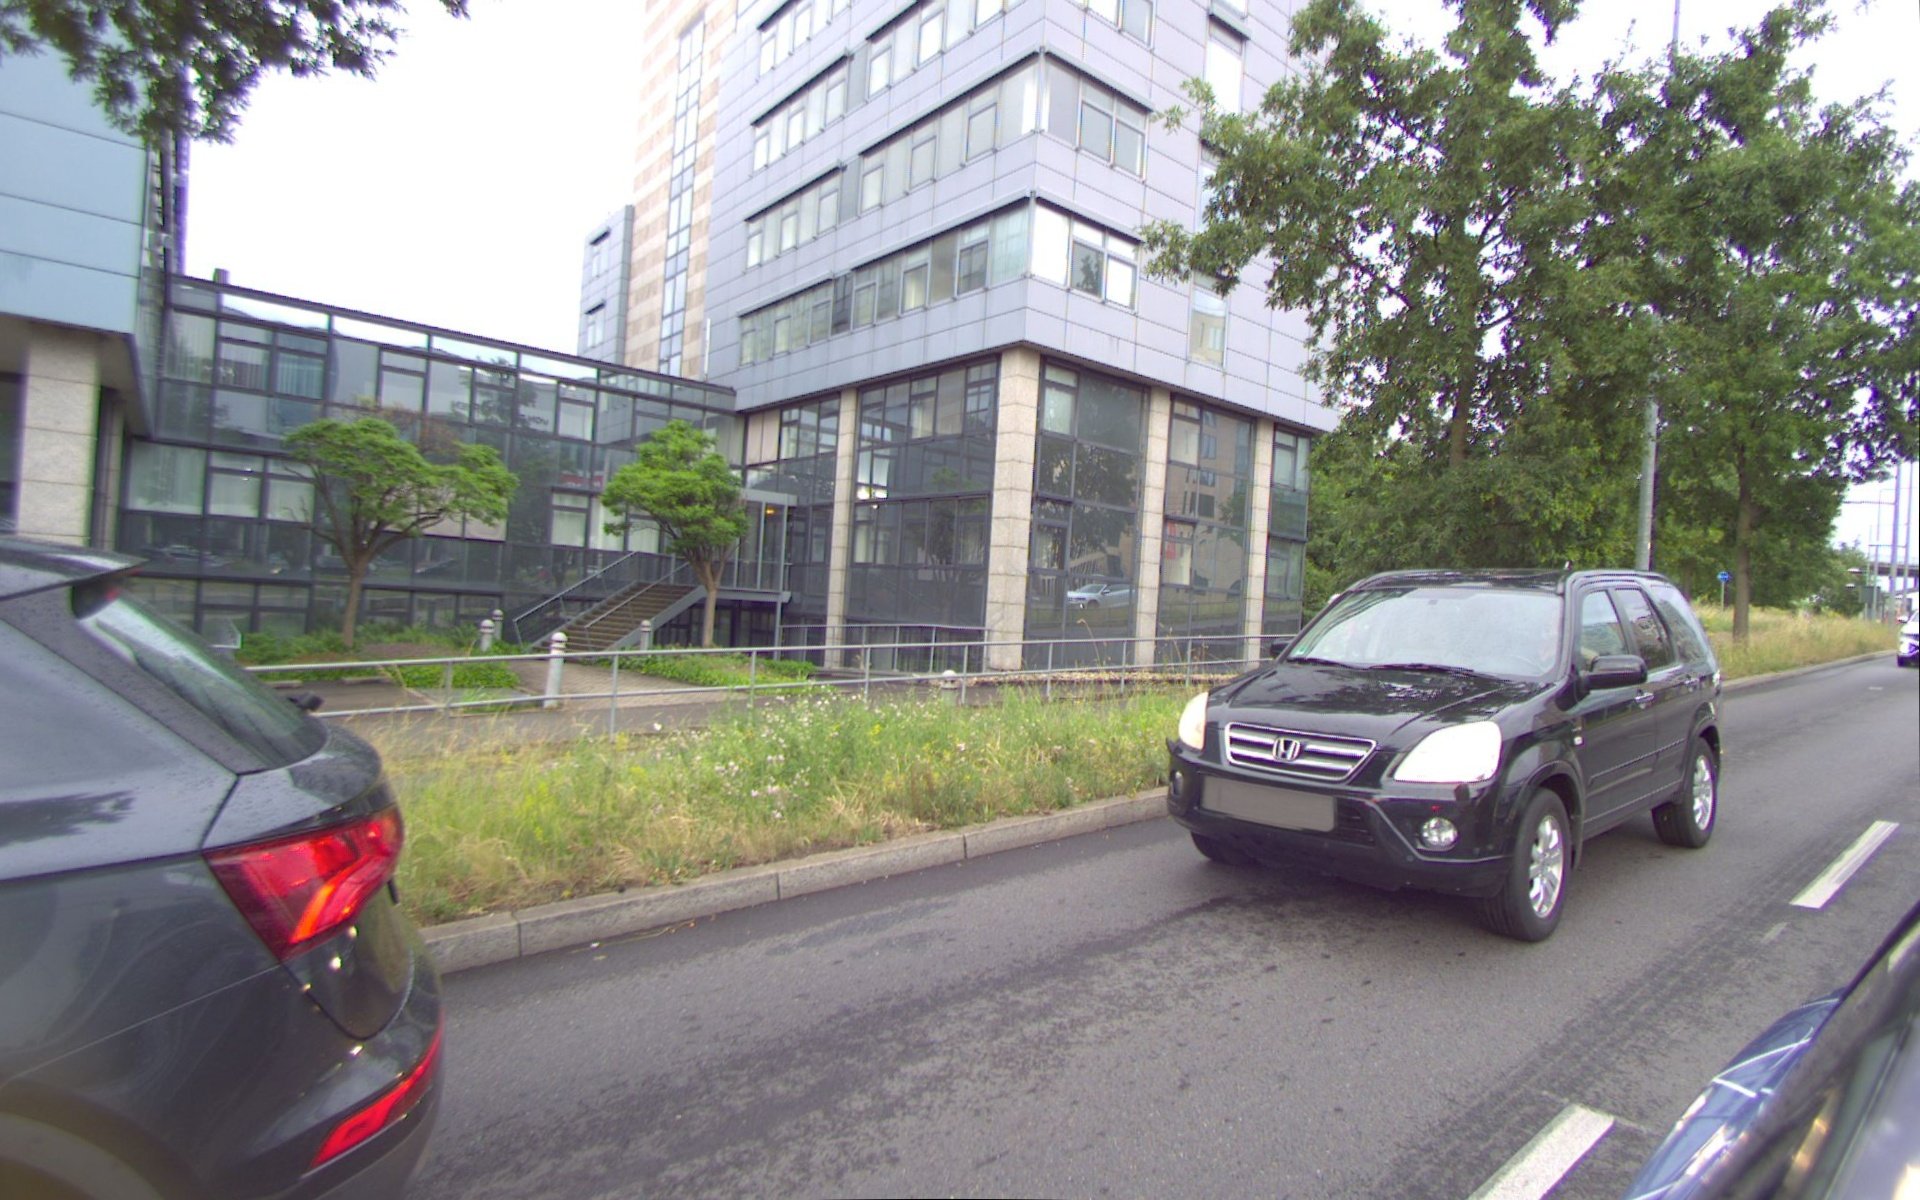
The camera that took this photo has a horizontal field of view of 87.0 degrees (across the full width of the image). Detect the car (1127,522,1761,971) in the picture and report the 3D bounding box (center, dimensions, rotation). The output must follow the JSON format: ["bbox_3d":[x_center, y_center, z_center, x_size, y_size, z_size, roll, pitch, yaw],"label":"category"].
[{"bbox_3d":[3.031,0.528,5.859,4.262,1.679,1.757,0,1,-41],"label":"car"}]

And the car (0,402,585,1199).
[{"bbox_3d":[-2.907,0.545,1.020,4.392,1.633,1.821,0,1,-41],"label":"car"}]

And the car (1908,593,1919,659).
[{"bbox_3d":[24.030,0.624,24.026,3.700,1.522,1.827,0,1,-40],"label":"car"}]

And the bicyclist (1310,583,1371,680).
[{"bbox_3d":[6.471,0.530,17.218,0.839,1.599,0.647,1,-1,-41],"label":"bicyclist"}]
